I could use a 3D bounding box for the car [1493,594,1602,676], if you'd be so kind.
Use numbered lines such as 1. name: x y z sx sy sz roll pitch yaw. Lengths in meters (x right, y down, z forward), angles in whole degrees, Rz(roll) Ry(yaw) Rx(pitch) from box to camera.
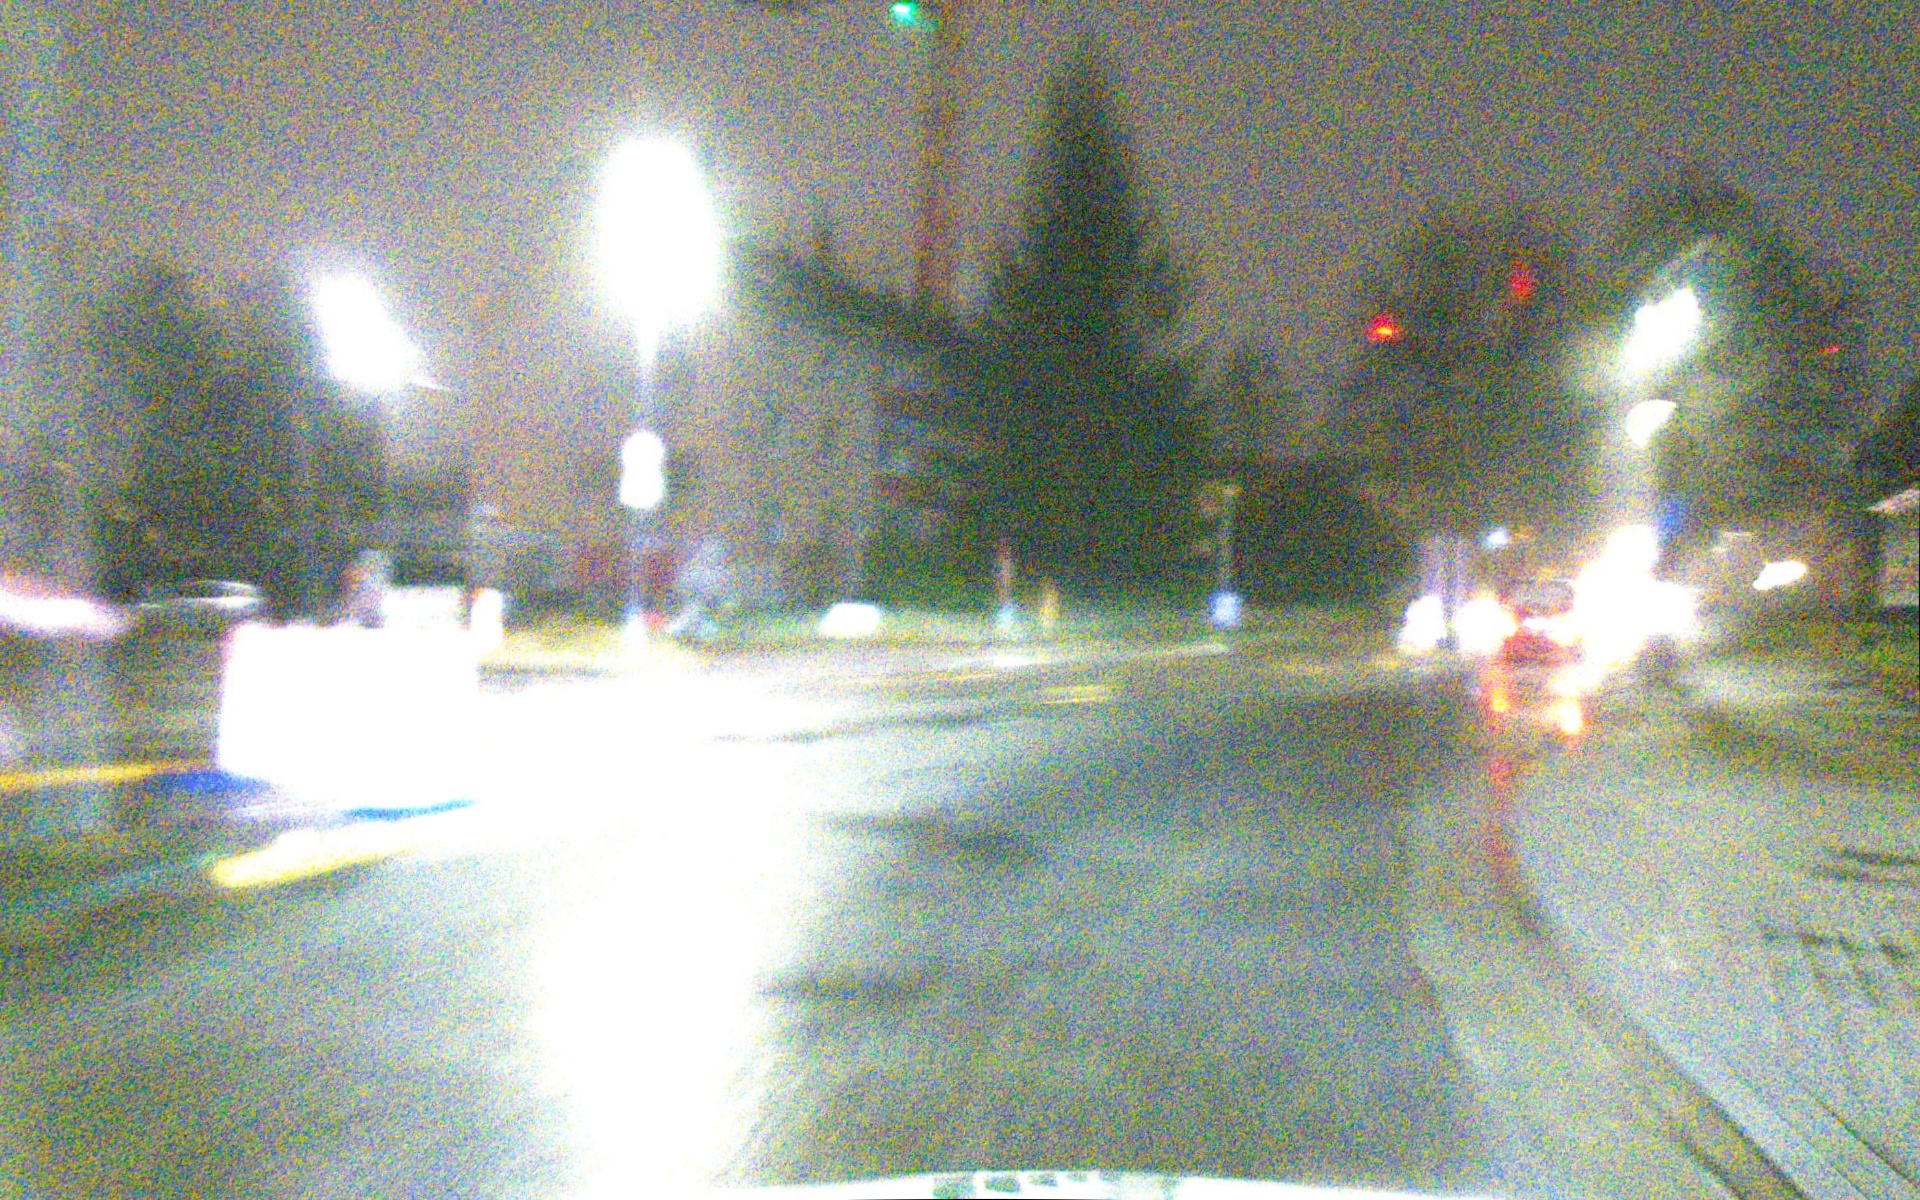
1. car: 14.069 0.812 39.480 1.955 1.713 3.997 4 1 25

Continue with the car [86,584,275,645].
1. car: -18.465 0.344 39.279 3.787 1.359 1.514 1 0 -42
